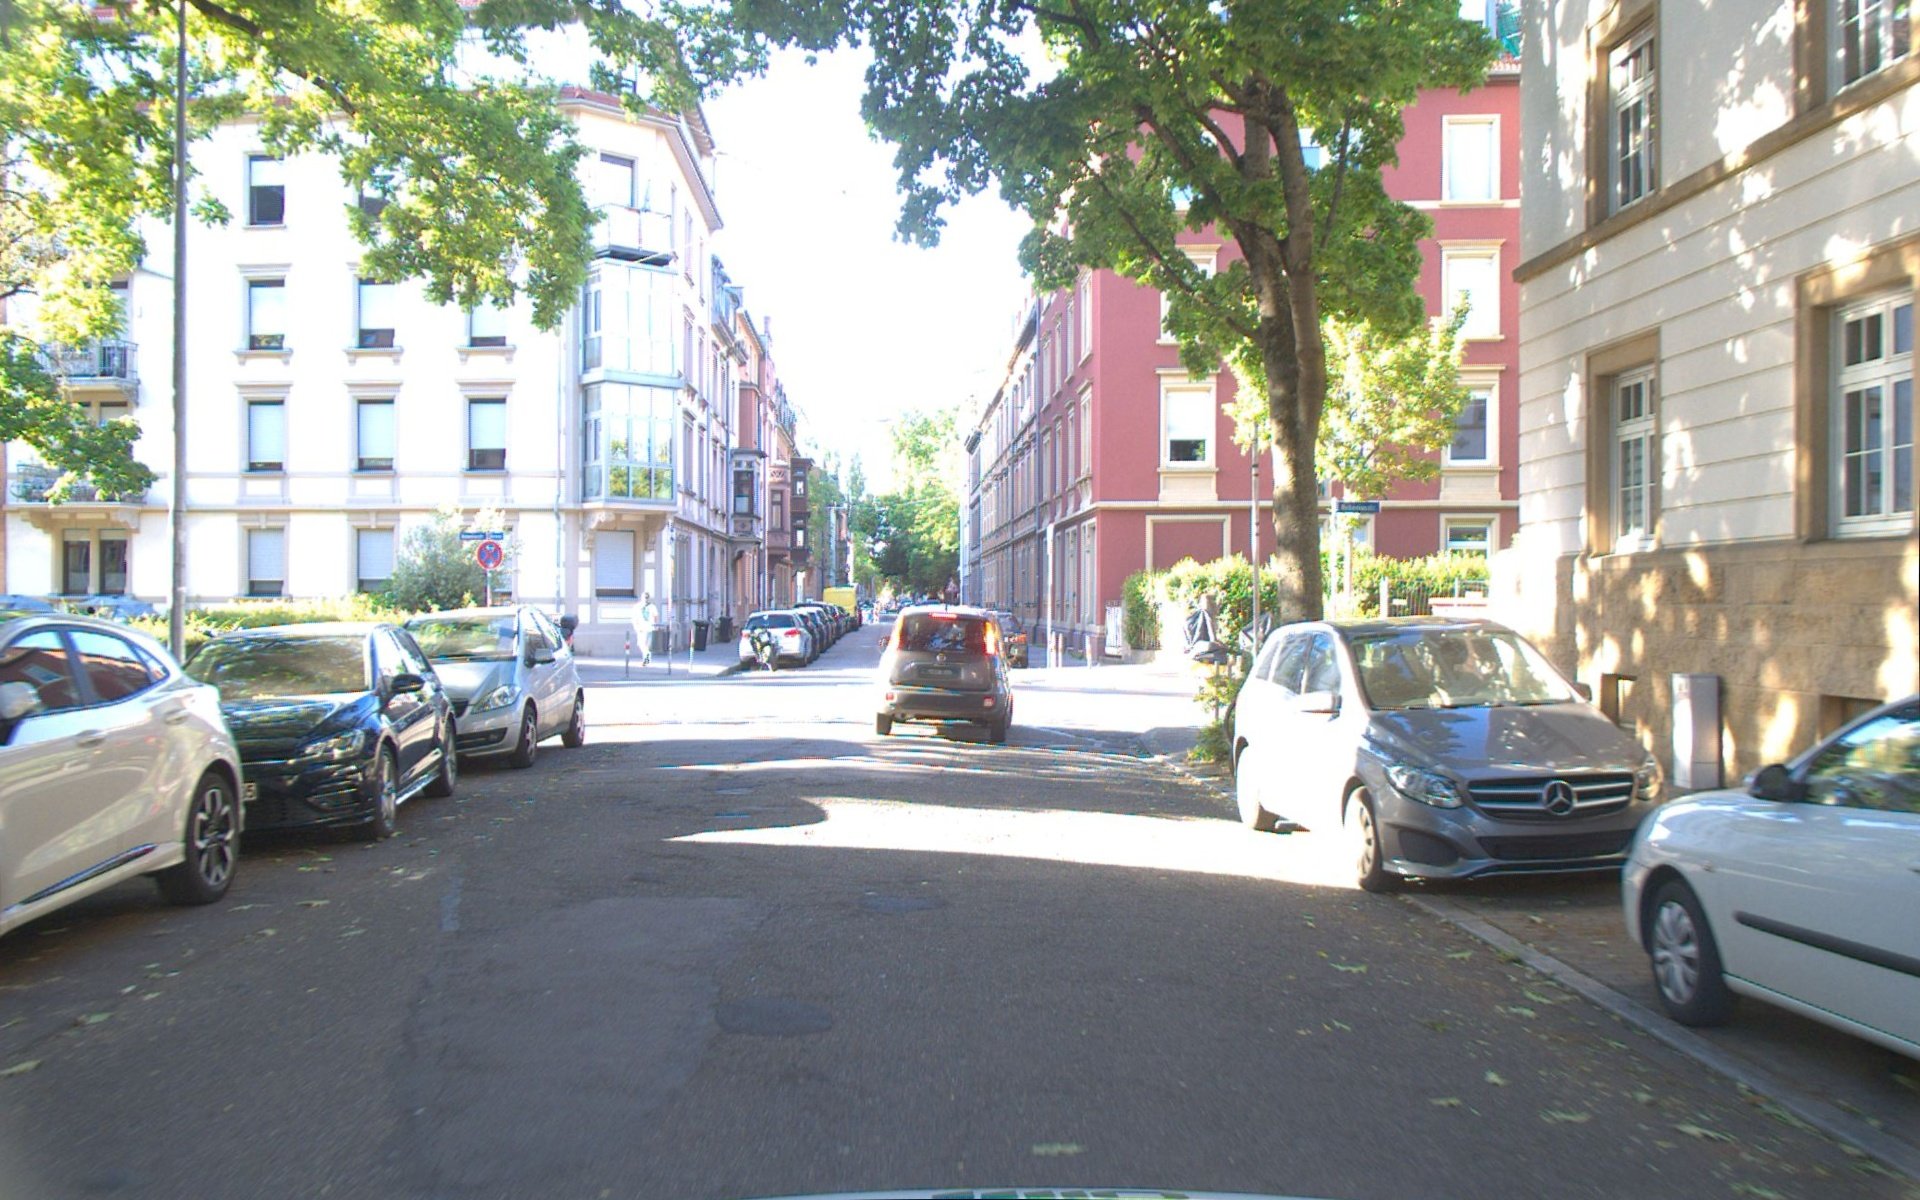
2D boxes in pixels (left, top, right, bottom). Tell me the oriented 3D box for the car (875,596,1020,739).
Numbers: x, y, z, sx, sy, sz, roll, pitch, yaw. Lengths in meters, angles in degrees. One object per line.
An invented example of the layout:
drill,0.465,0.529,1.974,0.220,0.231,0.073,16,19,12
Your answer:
car,-0.087,0.771,20.518,1.599,1.577,3.265,2,0,2

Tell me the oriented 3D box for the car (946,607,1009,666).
car,0.456,0.987,46.248,1.629,1.531,3.756,1,0,-1

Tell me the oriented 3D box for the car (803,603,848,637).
car,-6.673,0.972,82.420,1.922,1.504,3.923,-3,0,-1

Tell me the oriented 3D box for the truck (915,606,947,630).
truck,-1.866,1.108,105.079,1.953,1.482,3.998,0,0,-2

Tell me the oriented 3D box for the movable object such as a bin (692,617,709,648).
movable object such as a bin,-8.110,1.023,51.720,0.502,0.969,0.500,0,0,-5

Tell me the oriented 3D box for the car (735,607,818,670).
car,-4.828,0.985,43.974,1.761,1.456,3.923,-3,0,-1

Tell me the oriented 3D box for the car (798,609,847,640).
car,-6.189,1.097,74.783,1.922,1.246,3.923,-3,0,-1

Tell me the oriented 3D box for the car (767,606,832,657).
car,-5.335,1.024,55.261,1.788,1.492,3.923,-3,0,-1

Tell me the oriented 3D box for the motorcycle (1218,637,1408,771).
motorcycle,3.523,1.037,16.572,1.811,1.288,0.505,-1,0,12

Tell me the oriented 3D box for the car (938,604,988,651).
car,0.079,0.928,57.239,1.629,1.531,3.756,1,0,-1

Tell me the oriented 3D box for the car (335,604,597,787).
car,-4.991,0.881,17.250,1.663,1.577,3.917,-3,0,-3

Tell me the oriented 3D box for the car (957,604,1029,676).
car,0.797,0.965,41.766,1.629,1.698,3.756,1,0,-1

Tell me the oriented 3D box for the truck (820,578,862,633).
truck,-6.897,0.325,96.531,2.029,2.976,5.066,-4,0,-2

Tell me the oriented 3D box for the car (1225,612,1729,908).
car,3.156,0.878,11.136,1.754,1.578,4.405,0,0,-4

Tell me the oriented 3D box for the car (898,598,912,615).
car,-5.414,0.661,164.141,1.340,1.646,3.412,0,0,-1

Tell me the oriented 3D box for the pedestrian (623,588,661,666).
pedestrian,-7.698,0.653,40.102,0.707,1.871,0.627,1,0,9

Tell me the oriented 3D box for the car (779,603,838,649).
car,-5.501,0.926,60.360,1.792,1.504,3.923,-3,0,-1

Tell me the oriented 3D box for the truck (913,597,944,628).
truck,-2.125,0.787,110.453,1.953,2.027,3.998,0,0,-2

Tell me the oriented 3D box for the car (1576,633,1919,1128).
car,3.762,0.904,5.588,1.580,1.504,3.865,0,0,-6

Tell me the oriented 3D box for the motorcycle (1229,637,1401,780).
motorcycle,3.365,1.020,15.754,1.473,1.288,0.619,-1,0,-3

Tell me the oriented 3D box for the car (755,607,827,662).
car,-4.975,1.001,49.057,1.741,1.437,3.923,-3,0,-1

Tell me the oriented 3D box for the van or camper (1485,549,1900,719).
van or camper,11.141,0.470,25.571,5.469,2.488,2.147,0,2,7

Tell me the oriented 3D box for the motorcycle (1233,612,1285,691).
motorcycle,5.911,0.992,32.814,0.809,1.429,2.558,0,2,6

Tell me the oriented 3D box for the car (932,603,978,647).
car,-0.226,0.901,61.818,1.629,1.559,3.756,1,0,-1

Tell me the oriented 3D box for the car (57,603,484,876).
car,-4.769,0.832,12.156,1.714,1.500,4.456,-4,0,-8

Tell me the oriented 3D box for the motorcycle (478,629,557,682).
motorcycle,-9.337,1.158,34.955,0.675,1.002,1.822,4,1,18

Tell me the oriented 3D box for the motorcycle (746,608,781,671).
motorcycle,-4.833,0.957,40.675,0.684,1.486,1.746,-1,0,-12

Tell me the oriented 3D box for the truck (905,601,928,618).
truck,-3.788,0.846,144.590,1.953,1.482,3.998,0,0,-2

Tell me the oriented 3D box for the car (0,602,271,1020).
car,-4.636,0.861,7.132,1.789,1.581,4.129,-4,0,-5

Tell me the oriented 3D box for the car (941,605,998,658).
car,0.261,0.946,50.840,1.629,1.531,3.756,1,0,-1

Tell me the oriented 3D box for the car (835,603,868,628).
car,-7.310,1.025,111.782,1.922,1.504,3.923,-3,0,-1

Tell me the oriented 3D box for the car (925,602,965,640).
car,-0.668,0.875,70.890,1.629,1.531,3.756,1,0,-1

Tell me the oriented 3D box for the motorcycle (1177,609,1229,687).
motorcycle,4.922,0.938,33.419,0.998,1.428,2.194,0,2,10

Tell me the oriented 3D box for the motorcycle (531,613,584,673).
motorcycle,-9.078,0.955,37.323,0.507,1.316,1.613,1,0,11
